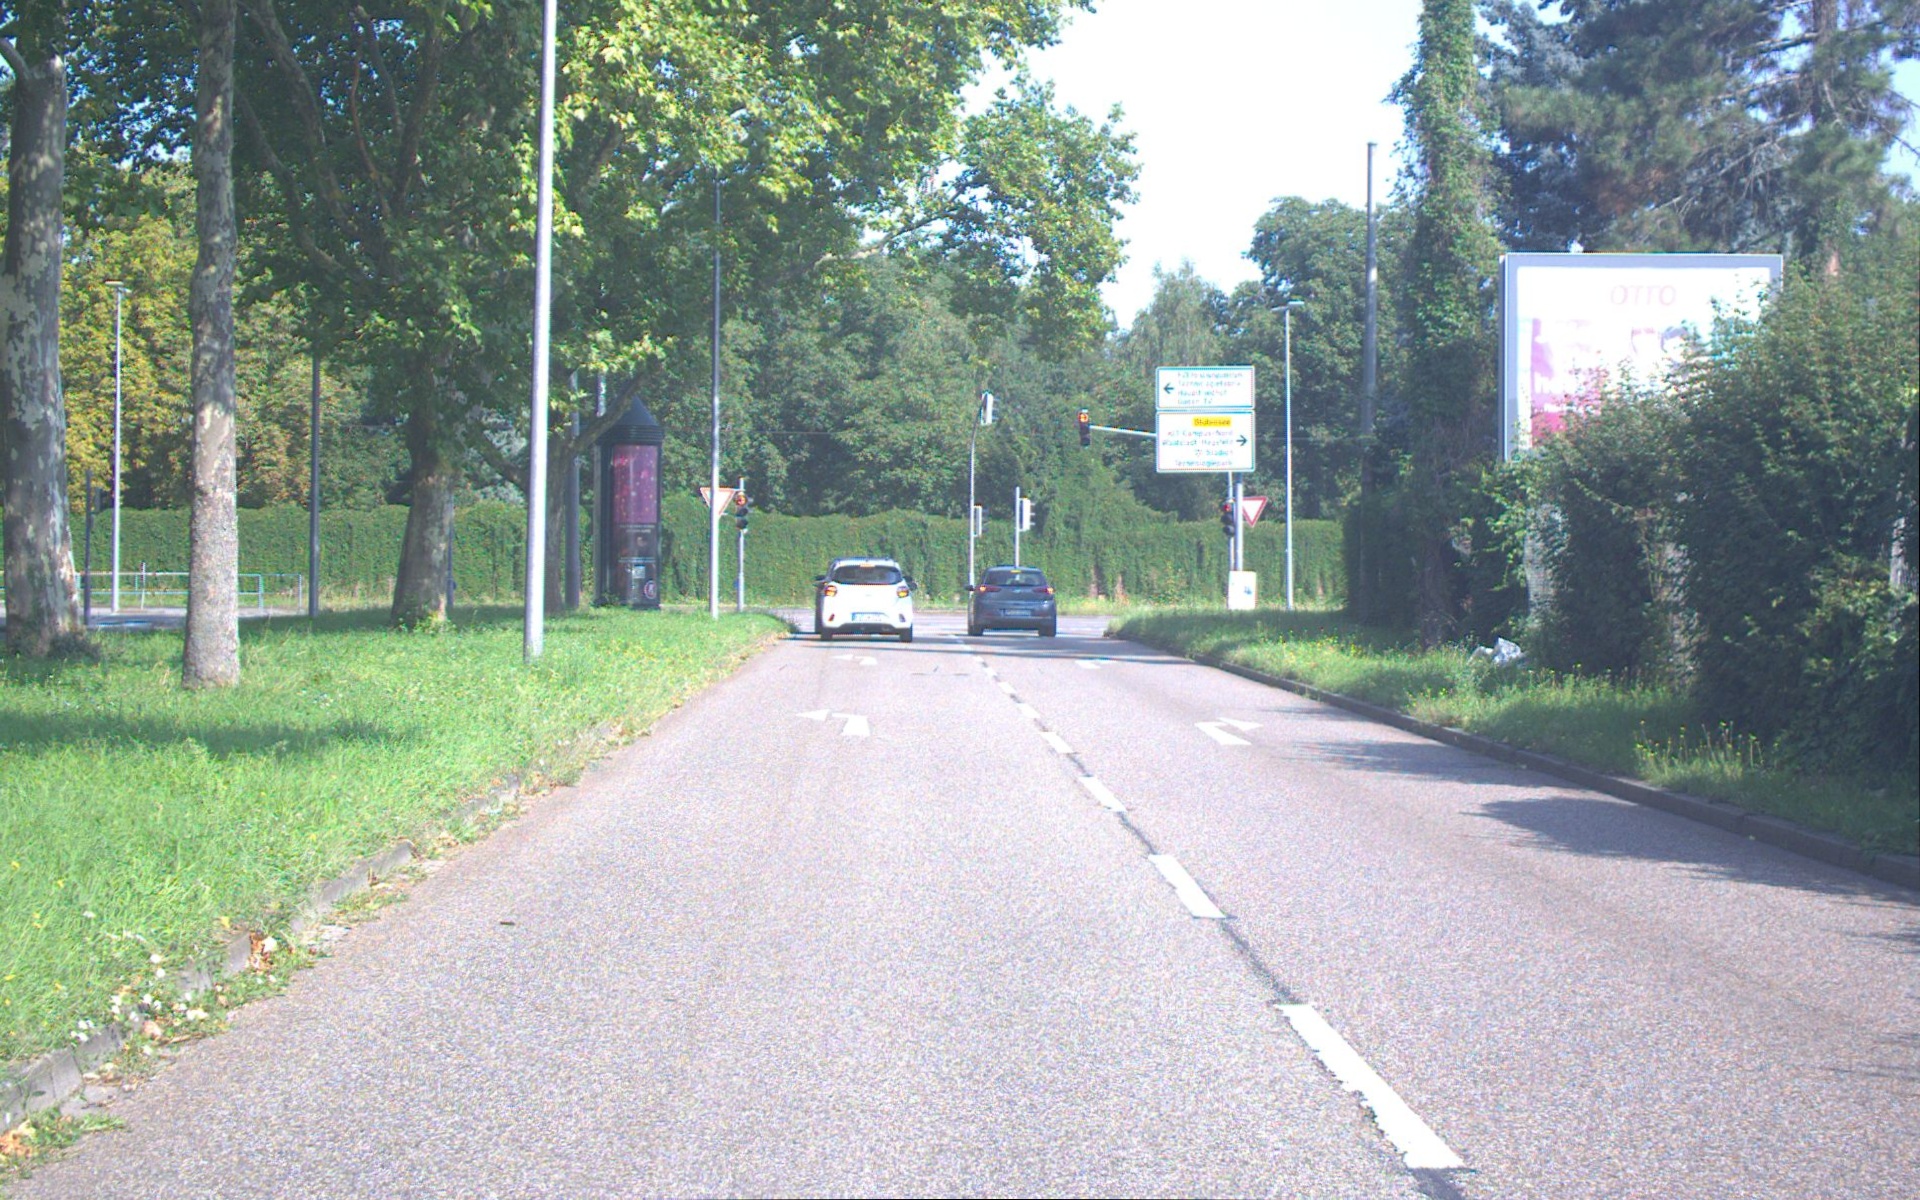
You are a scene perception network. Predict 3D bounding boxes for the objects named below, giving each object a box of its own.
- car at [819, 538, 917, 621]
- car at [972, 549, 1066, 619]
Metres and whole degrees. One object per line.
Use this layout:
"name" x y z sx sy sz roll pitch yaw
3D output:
"car" -1.676 -0.407 63.763 1.687 1.457 4.000 1 1 0
"car" 1.222 -0.361 72.518 1.797 1.396 4.000 1 1 -1
